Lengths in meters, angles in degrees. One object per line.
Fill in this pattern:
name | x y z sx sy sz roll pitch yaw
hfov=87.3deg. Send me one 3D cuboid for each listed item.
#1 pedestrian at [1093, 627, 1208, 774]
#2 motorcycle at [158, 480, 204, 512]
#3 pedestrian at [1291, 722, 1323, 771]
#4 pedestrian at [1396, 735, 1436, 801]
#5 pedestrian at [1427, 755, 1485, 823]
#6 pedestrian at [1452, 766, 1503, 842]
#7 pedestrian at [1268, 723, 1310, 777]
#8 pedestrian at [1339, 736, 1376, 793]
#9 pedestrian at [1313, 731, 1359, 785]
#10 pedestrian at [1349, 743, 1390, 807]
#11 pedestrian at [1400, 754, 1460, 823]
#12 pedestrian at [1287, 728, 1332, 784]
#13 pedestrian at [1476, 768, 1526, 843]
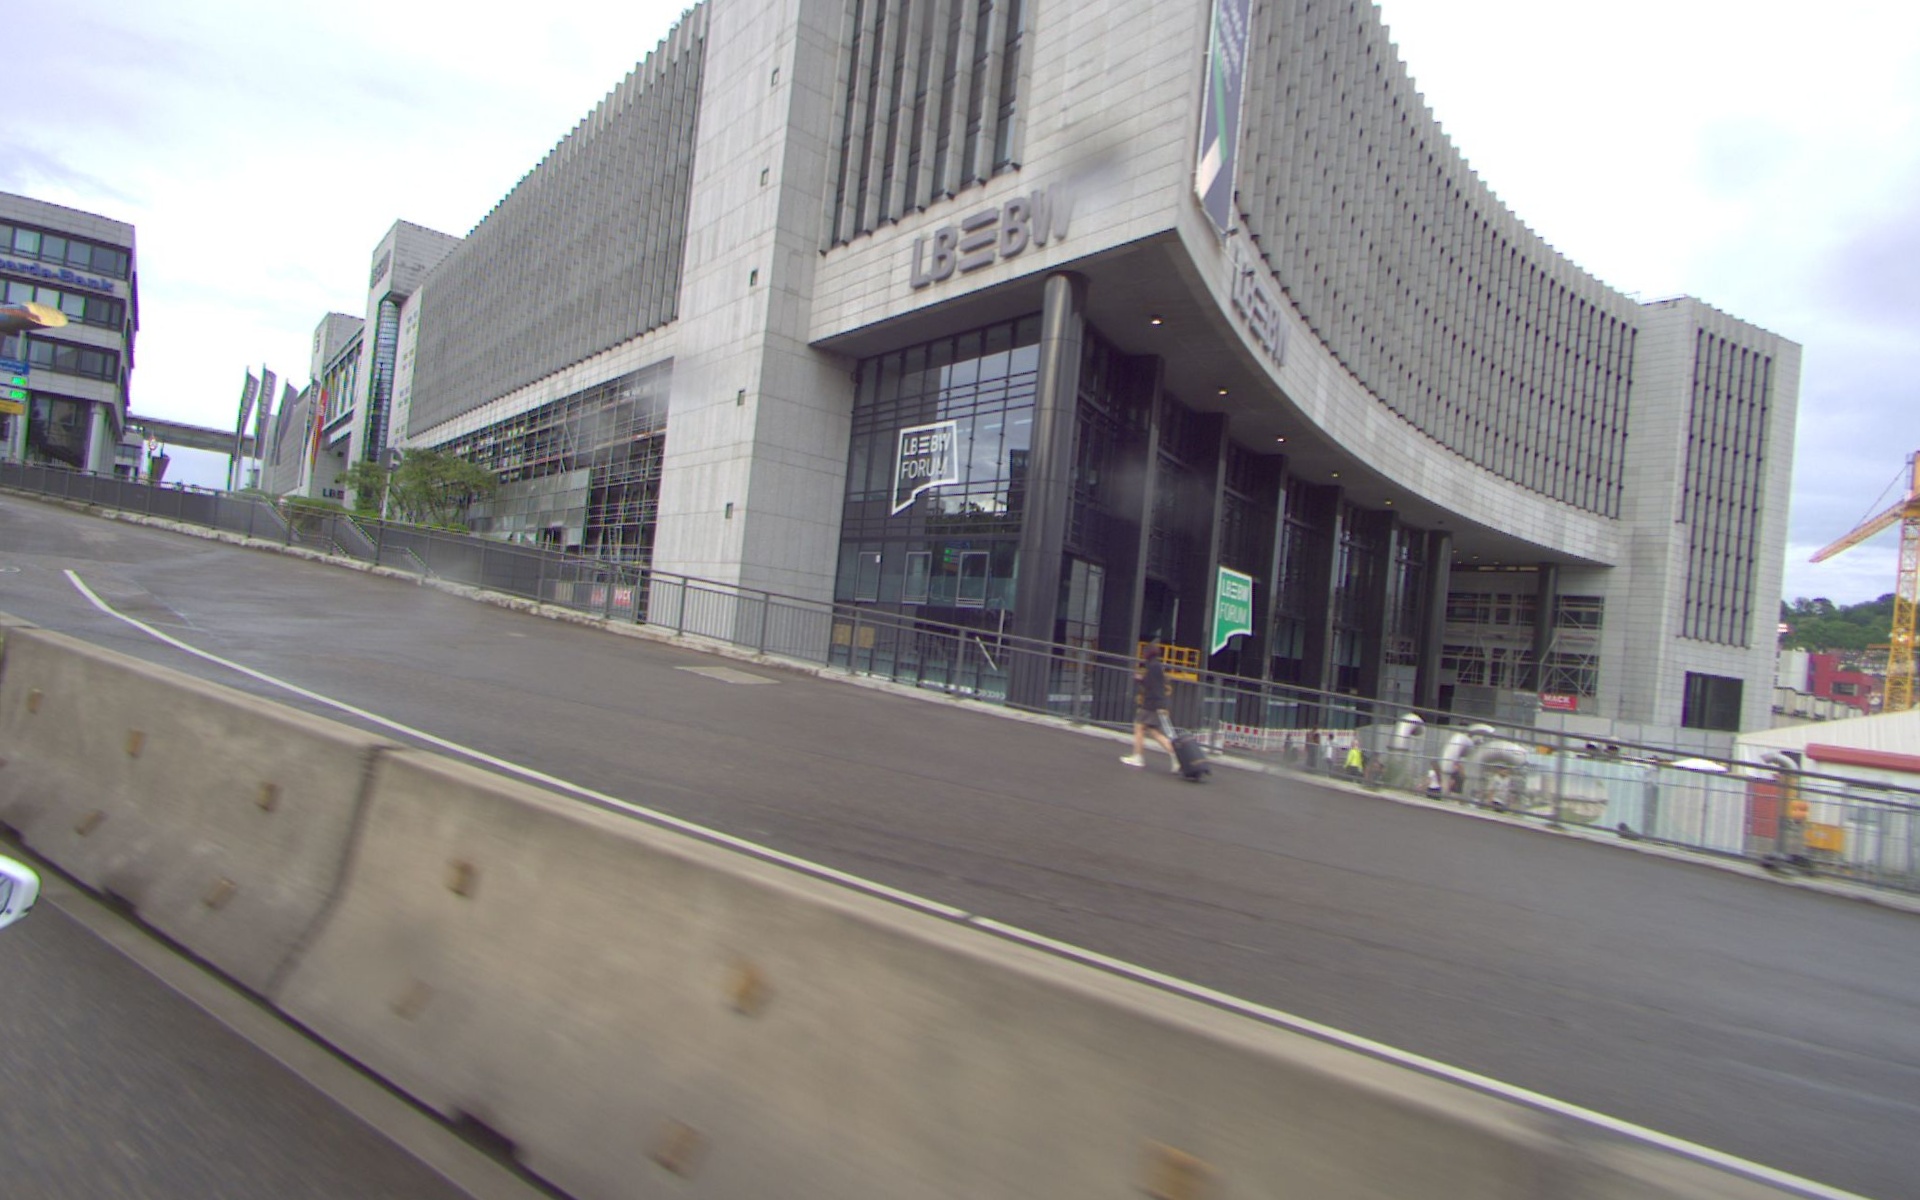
pedestrian | 2.392 1.255 12.713 0.724 1.672 1.052 7 0 -32
motorcycle | -40.576 -5.421 52.393 0.595 1.371 1.728 8 1 23
pedestrian | 13.115 5.518 37.975 0.854 1.656 1.007 6 -1 27
pedestrian | 13.912 5.114 30.728 0.742 1.837 0.641 6 0 0
pedestrian | 13.576 5.169 27.546 0.859 1.656 1.000 7 -1 -30
pedestrian | 12.498 4.922 24.300 0.594 1.656 0.769 6 0 -11
pedestrian | 11.545 5.255 35.303 0.854 1.656 1.007 6 -1 -10
pedestrian | 12.529 5.179 31.720 0.727 1.656 0.654 6 0 0
pedestrian | 12.764 5.365 34.170 0.858 1.656 1.002 7 -1 -26
pedestrian | 11.152 4.760 27.384 0.698 1.635 0.562 7 0 -27
pedestrian | 12.656 5.062 27.110 0.859 1.656 1.000 7 -1 -30
pedestrian | 11.704 5.227 33.736 0.855 1.656 1.005 6 -1 -15
pedestrian | 13.128 4.979 24.440 0.578 1.656 0.751 6 0 -11
